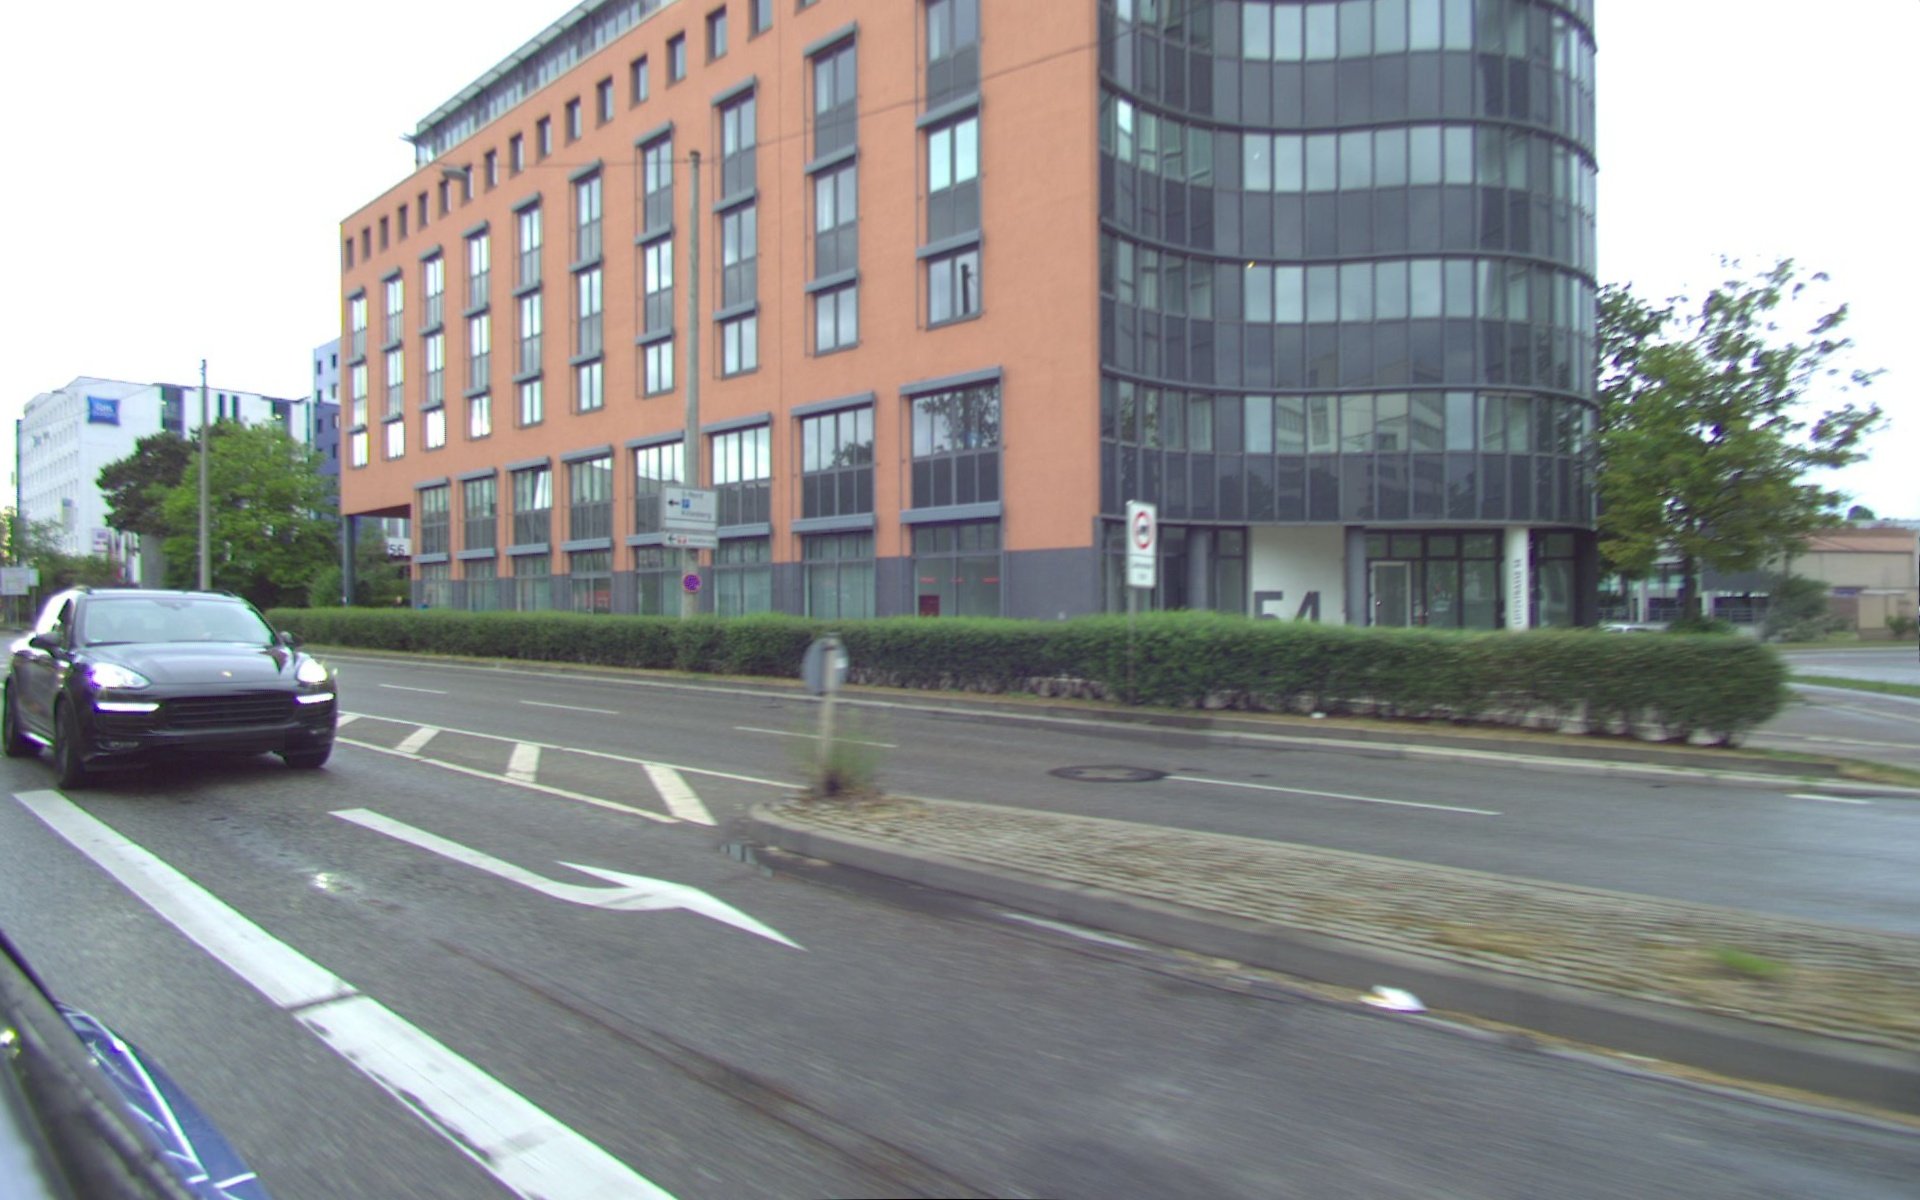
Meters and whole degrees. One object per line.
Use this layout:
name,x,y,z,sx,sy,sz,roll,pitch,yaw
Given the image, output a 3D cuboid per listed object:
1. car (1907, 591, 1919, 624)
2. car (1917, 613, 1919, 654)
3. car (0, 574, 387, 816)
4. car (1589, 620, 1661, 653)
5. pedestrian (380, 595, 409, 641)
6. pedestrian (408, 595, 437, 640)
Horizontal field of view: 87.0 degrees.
car,50.334,0.393,50.774,3.766,1.662,1.815,0,-1,4
car,44.974,1.488,43.833,4.944,1.829,1.793,1,-1,8
car,-7.535,0.696,9.522,5.420,1.679,1.973,-1,-1,40
car,40.983,2.226,62.483,1.974,1.918,3.995,0,-1,4
pedestrian,-23.068,0.731,41.304,0.885,1.855,0.738,-1,1,39
pedestrian,-22.222,0.720,41.872,0.885,1.855,0.738,-1,1,39
